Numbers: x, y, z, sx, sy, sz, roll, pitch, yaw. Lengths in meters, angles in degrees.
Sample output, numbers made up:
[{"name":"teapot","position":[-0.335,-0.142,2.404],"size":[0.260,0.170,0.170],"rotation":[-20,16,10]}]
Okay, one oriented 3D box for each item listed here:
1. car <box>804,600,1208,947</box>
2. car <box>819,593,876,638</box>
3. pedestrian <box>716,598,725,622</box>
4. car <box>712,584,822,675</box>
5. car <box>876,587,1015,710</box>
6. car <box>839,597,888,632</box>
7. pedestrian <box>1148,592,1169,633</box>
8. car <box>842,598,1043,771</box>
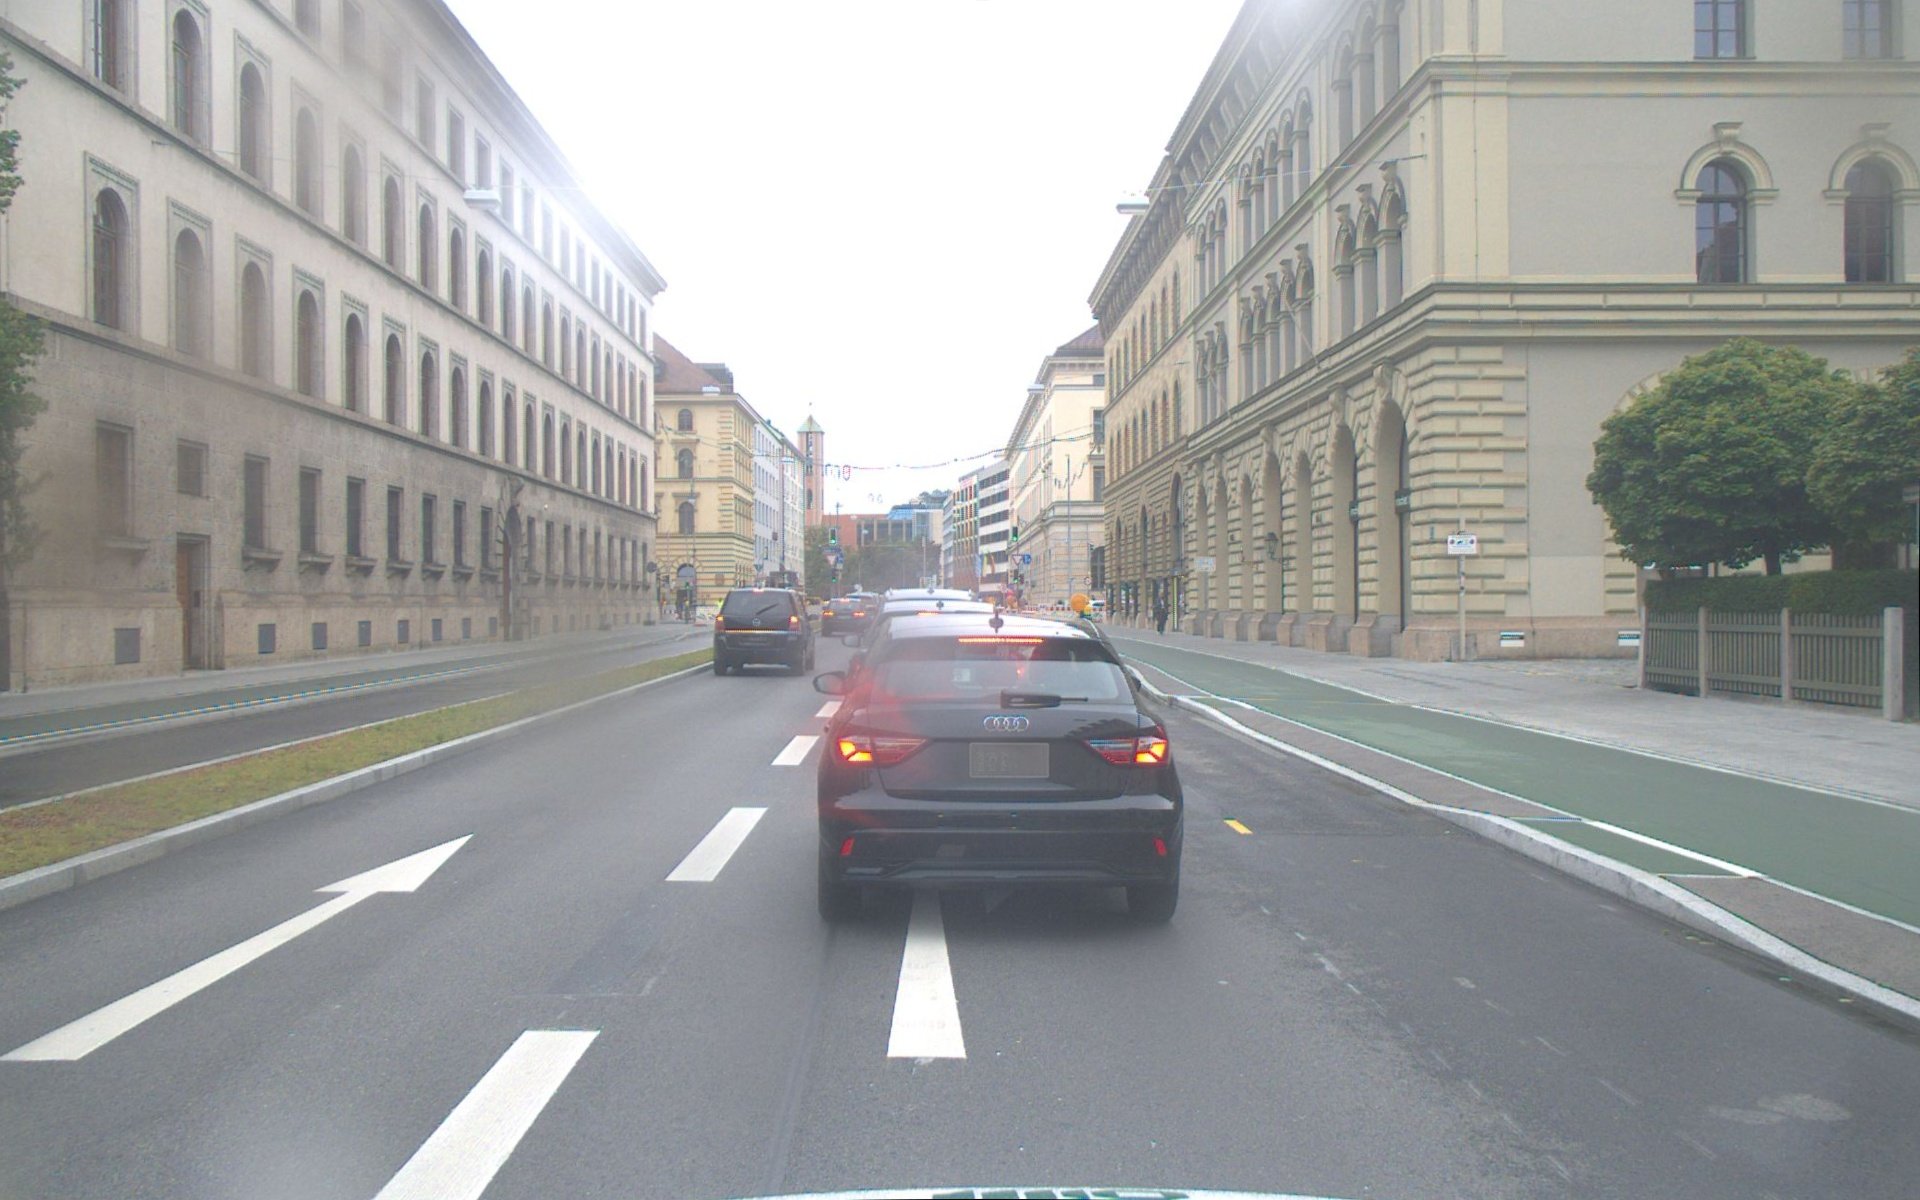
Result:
[{"name":"car","position":[0.157,0.739,9.011],"size":[1.695,1.427,3.999],"rotation":[1,0,-1]},{"name":"car","position":[-4.236,0.553,62.968],"size":[1.953,1.656,3.999],"rotation":[0,0,-1]},{"name":"pedestrian","position":[-18.304,0.780,126.398],"size":[0.642,1.836,0.727],"rotation":[0,0,-2]},{"name":"car","position":[-3.684,0.531,32.161],"size":[1.729,1.644,4.029],"rotation":[1,0,-1]},{"name":"car","position":[-0.217,0.594,22.485],"size":[1.695,1.486,3.999],"rotation":[1,0,-1]},{"name":"car","position":[-4.175,0.607,72.220],"size":[1.953,1.469,3.999],"rotation":[0,0,-1]},{"name":"pedestrian","position":[7.953,0.504,66.269],"size":[0.695,1.646,0.754],"rotation":[0,0,-2]},{"name":"car","position":[-0.188,0.719,16.091],"size":[1.695,1.427,3.999],"rotation":[1,0,-1]}]
